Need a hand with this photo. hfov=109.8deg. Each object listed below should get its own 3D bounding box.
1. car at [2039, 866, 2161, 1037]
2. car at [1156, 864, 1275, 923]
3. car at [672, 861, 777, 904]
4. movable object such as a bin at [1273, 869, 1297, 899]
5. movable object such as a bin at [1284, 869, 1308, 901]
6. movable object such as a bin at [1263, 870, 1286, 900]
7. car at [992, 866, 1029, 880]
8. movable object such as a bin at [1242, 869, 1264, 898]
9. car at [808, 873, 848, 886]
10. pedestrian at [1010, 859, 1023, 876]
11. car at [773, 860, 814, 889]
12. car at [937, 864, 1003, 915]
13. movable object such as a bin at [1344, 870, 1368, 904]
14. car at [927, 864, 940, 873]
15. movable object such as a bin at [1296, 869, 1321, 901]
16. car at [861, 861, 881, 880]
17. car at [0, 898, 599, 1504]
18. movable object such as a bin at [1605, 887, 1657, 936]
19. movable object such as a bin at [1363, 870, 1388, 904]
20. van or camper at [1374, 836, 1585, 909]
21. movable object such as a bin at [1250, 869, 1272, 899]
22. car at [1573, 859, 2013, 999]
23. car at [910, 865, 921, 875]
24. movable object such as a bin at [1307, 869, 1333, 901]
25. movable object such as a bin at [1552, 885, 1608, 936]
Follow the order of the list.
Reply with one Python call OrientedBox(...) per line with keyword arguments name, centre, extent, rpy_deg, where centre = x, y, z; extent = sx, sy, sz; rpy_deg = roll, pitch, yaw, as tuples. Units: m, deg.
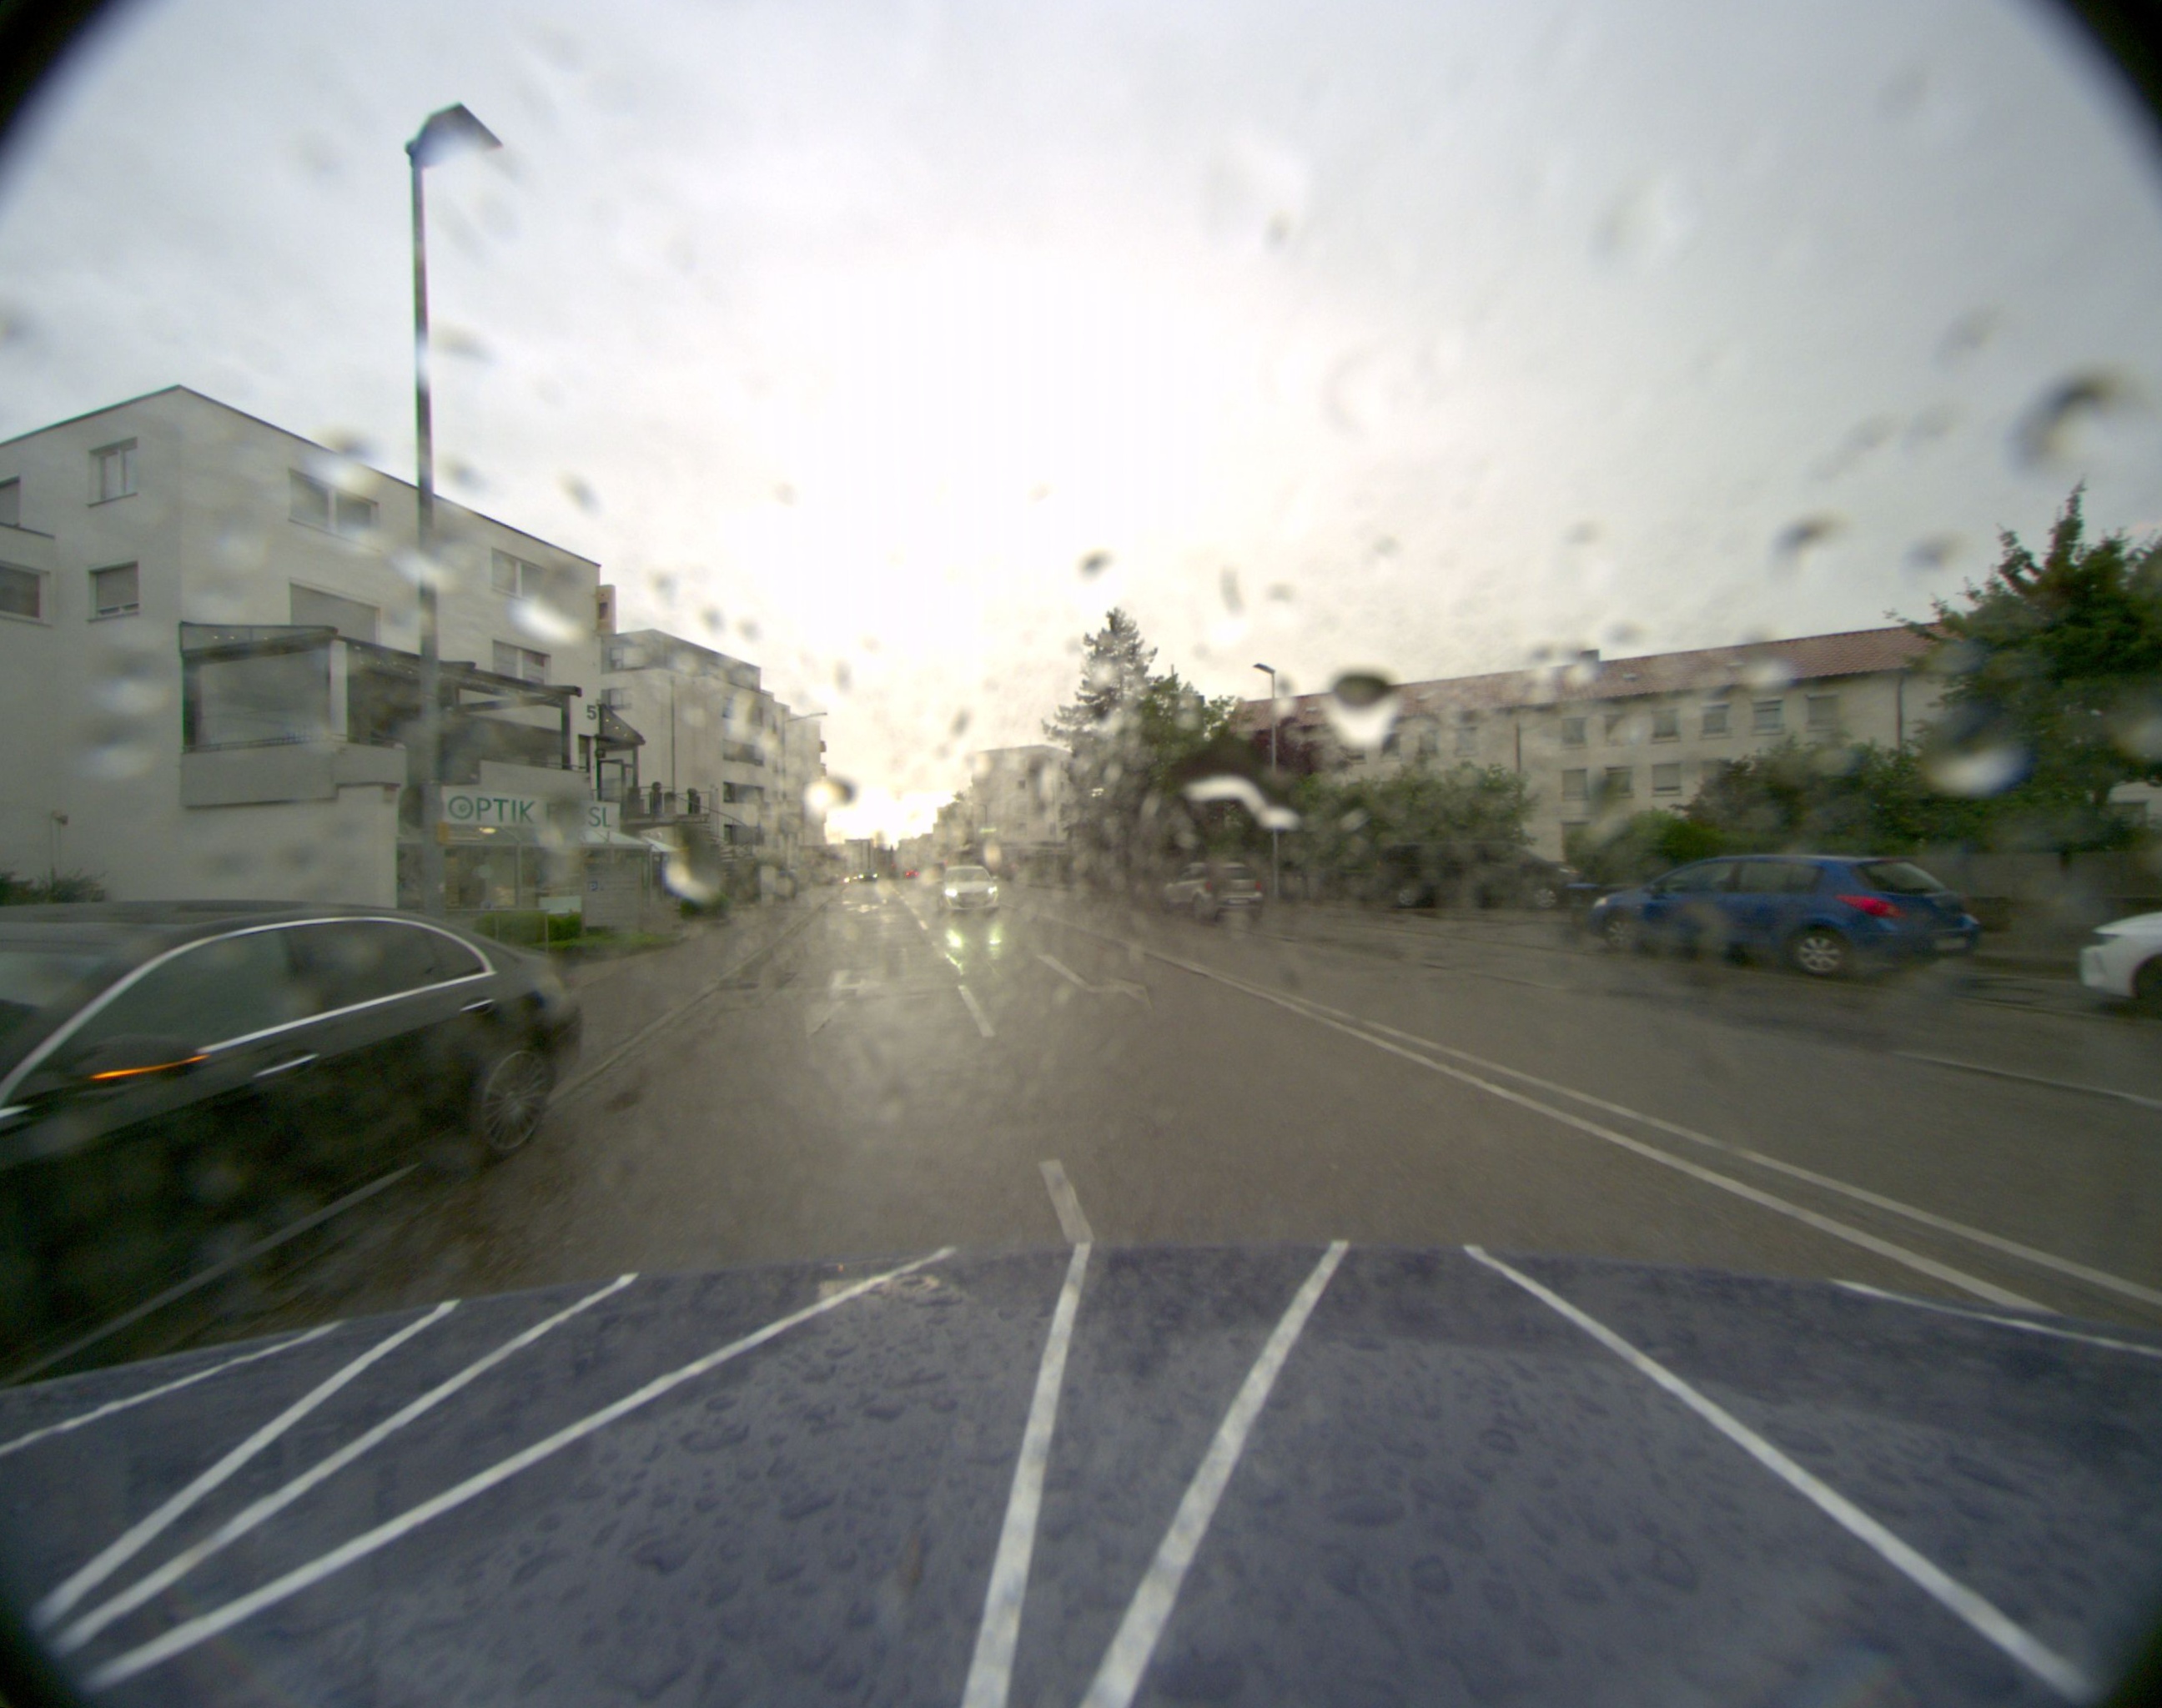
OrientedBox(name="car", centre=(10.708, 0.849, 5.322), extent=(1.699, 1.455, 4.679), rpy_deg=(-1, 0, -13))
OrientedBox(name="car", centre=(3.482, 1.013, 20.454), extent=(1.831, 1.431, 3.837), rpy_deg=(1, -1, -13))
OrientedBox(name="car", centre=(-17.698, 1.366, 38.001), extent=(1.996, 2.001, 4.786), rpy_deg=(-1, -1, 18))
OrientedBox(name="movable object such as a bin", centre=(7.580, 1.113, 28.272), extent=(0.602, 1.111, 0.600), rpy_deg=(-1, 0, -27))
OrientedBox(name="movable object such as a bin", centre=(7.842, 1.128, 27.719), extent=(0.602, 1.111, 0.600), rpy_deg=(-1, 0, -27))
OrientedBox(name="movable object such as a bin", centre=(7.335, 1.156, 28.848), extent=(0.602, 1.111, 0.600), rpy_deg=(-1, 0, -16))
OrientedBox(name="car", centre=(-7.916, 2.156, 85.771), extent=(1.995, 1.537, 4.480), rpy_deg=(0, -1, 26))
OrientedBox(name="movable object such as a bin", centre=(6.791, 1.162, 29.992), extent=(0.602, 1.112, 0.600), rpy_deg=(-1, 0, -17))
OrientedBox(name="car", centre=(-31.043, 3.148, 93.216), extent=(4.264, 1.485, 1.875), rpy_deg=(-2, -2, 12))
OrientedBox(name="pedestrian", centre=(-6.017, 1.237, 70.723), extent=(0.873, 1.597, 1.101), rpy_deg=(-1, 1, -23))
OrientedBox(name="car", centre=(-19.038, 1.340, 50.507), extent=(2.001, 1.775, 4.685), rpy_deg=(-1, -1, -15))
OrientedBox(name="car", centre=(-3.646, 1.107, 24.393), extent=(1.831, 1.431, 4.342), rpy_deg=(-2, -1, -11))
OrientedBox(name="movable object such as a bin", centre=(9.296, 1.113, 25.669), extent=(0.600, 1.111, 0.602), rpy_deg=(-1, 0, 40))
OrientedBox(name="car", centre=(-25.564, 2.577, 131.907), extent=(1.705, 1.400, 3.995), rpy_deg=(1, -2, -18))
OrientedBox(name="movable object such as a bin", centre=(8.118, 1.097, 27.157), extent=(0.602, 1.111, 0.600), rpy_deg=(-1, 0, -27))
OrientedBox(name="car", centre=(-23.036, 1.813, 83.435), extent=(2.001, 2.001, 3.996), rpy_deg=(-1, -2, -15))
OrientedBox(name="car", centre=(-3.978, 1.035, 2.562), extent=(1.999, 1.524, 4.646), rpy_deg=(-2, -1, -5))
OrientedBox(name="movable object such as a bin", centre=(10.777, 1.113, 14.897), extent=(0.576, 0.897, 0.597), rpy_deg=(-1, 0, -14))
OrientedBox(name="movable object such as a bin", centre=(9.848, 1.089, 25.383), extent=(0.600, 1.111, 0.602), rpy_deg=(-1, 0, 40))
OrientedBox(name="van or camper", centre=(11.546, 0.588, 22.214), extent=(5.204, 1.913, 2.004), rpy_deg=(-3, -2, 32))
OrientedBox(name="movable object such as a bin", centre=(6.962, 1.158, 29.394), extent=(0.602, 1.111, 0.600), rpy_deg=(-1, 0, -17))
OrientedBox(name="car", centre=(9.523, 0.863, 10.747), extent=(1.658, 1.512, 4.319), rpy_deg=(-1, 0, -14))
OrientedBox(name="car", centre=(-28.613, 2.784, 131.478), extent=(1.809, 1.547, 4.315), rpy_deg=(-2, -2, -12))
OrientedBox(name="movable object such as a bin", centre=(8.369, 1.080, 26.582), extent=(0.602, 1.111, 0.600), rpy_deg=(-1, 0, -27))
OrientedBox(name="movable object such as a bin", centre=(10.115, 1.135, 15.420), extent=(0.650, 0.960, 0.682), rpy_deg=(-1, 0, -14))
